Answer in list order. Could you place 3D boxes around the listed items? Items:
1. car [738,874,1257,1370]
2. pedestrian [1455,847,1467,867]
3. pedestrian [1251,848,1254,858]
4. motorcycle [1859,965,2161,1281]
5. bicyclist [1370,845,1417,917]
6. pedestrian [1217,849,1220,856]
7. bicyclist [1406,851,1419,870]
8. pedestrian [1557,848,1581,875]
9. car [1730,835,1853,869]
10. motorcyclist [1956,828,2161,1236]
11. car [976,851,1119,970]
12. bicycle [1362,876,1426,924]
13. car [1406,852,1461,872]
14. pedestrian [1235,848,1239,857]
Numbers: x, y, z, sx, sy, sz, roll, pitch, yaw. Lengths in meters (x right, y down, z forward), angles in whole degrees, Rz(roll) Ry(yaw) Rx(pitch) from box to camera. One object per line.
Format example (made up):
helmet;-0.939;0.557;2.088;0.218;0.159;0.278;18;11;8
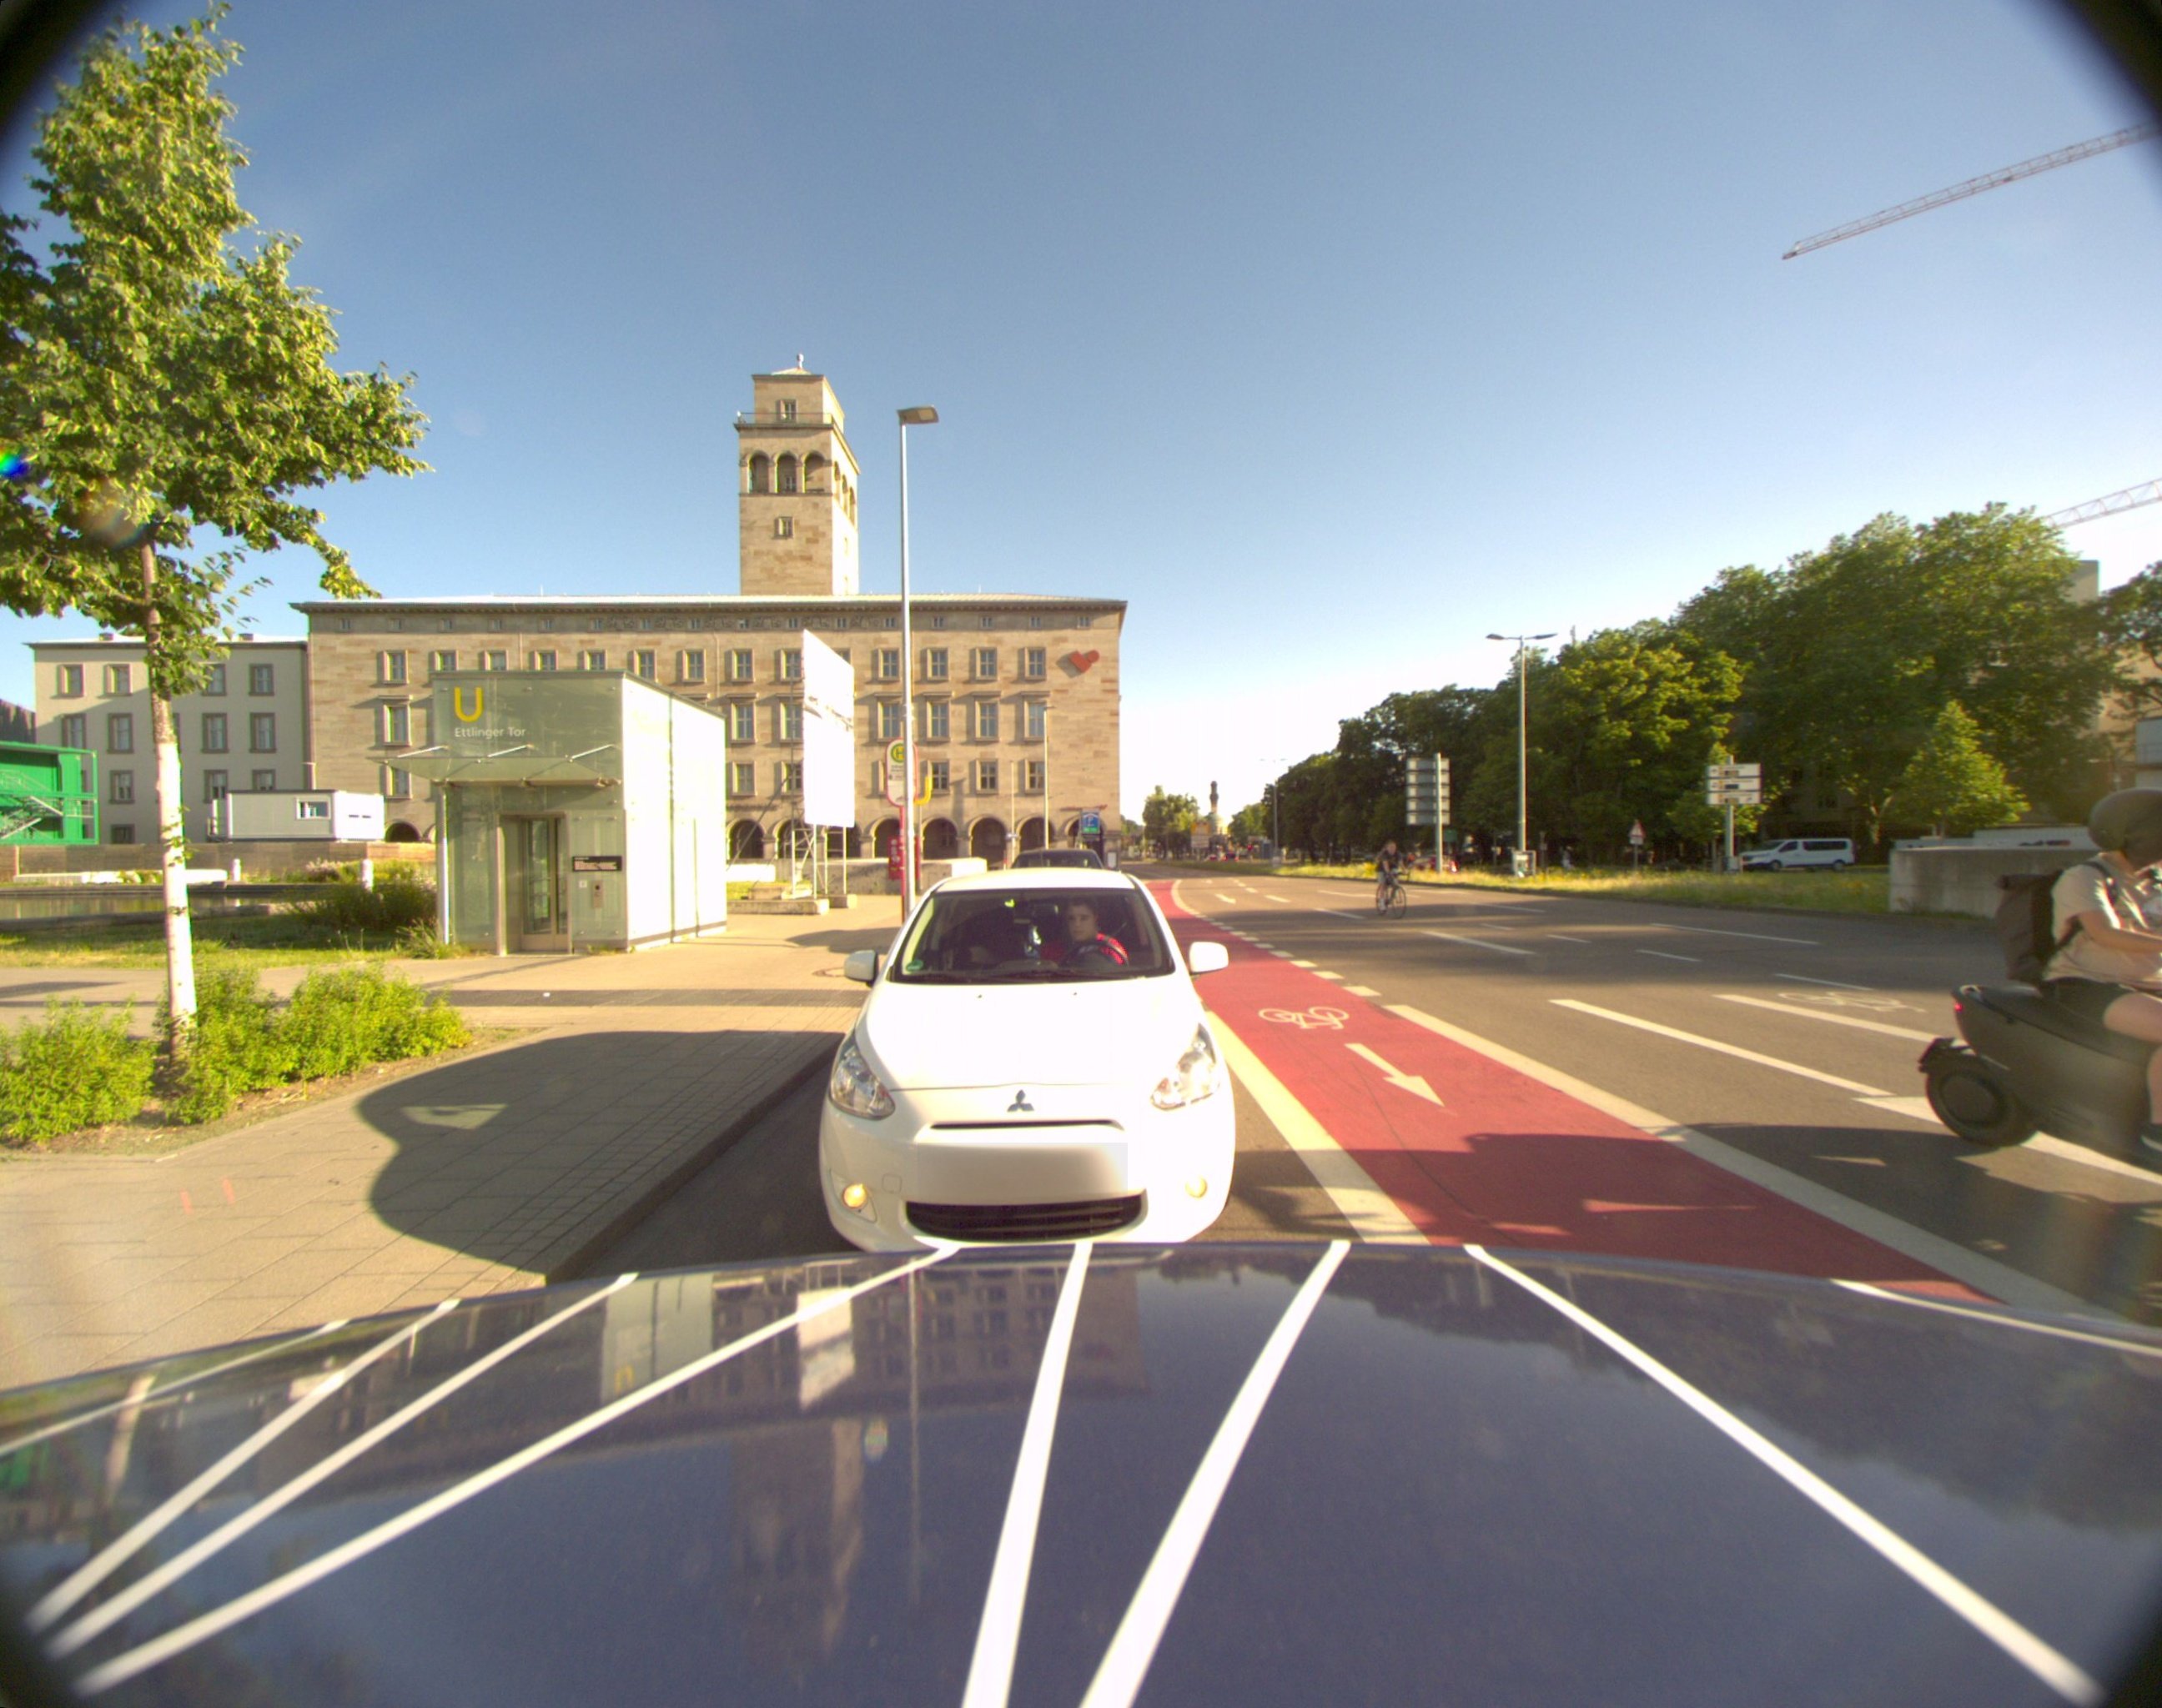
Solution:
car;-0.249;0.945;4.506;1.660;1.463;3.969;-3;0;1
pedestrian;32.130;0.266;64.192;0.664;1.716;0.698;-1;1;0
pedestrian;34.446;-0.279;152.717;0.525;2.002;0.594;-1;1;-2
motorcycle;4.311;1.062;2.912;0.756;0.963;1.960;-1;0;5
bicyclist;6.692;0.562;16.310;0.624;1.494;0.938;-2;1;2
pedestrian;30.661;-0.304;169.434;0.442;1.550;0.499;-1;1;1
bicyclist;24.085;0.476;55.158;0.617;1.359;0.768;-1;1;1
pedestrian;33.422;0.486;52.068;0.997;1.773;0.964;-2;1;1
car;42.040;-0.119;45.043;5.325;1.880;2.000;-1;0;2
motorcyclist;4.304;0.637;2.967;0.756;1.475;0.882;-1;1;5
car;-0.485;0.789;13.129;1.999;1.652;4.791;-1;0;0
bicycle;6.728;0.969;16.423;0.624;0.903;1.910;-2;0;2
car;22.103;0.475;47.793;1.618;1.126;3.770;-2;0;-1
pedestrian;32.269;-0.297;157.254;0.525;2.002;0.594;-1;1;-2
